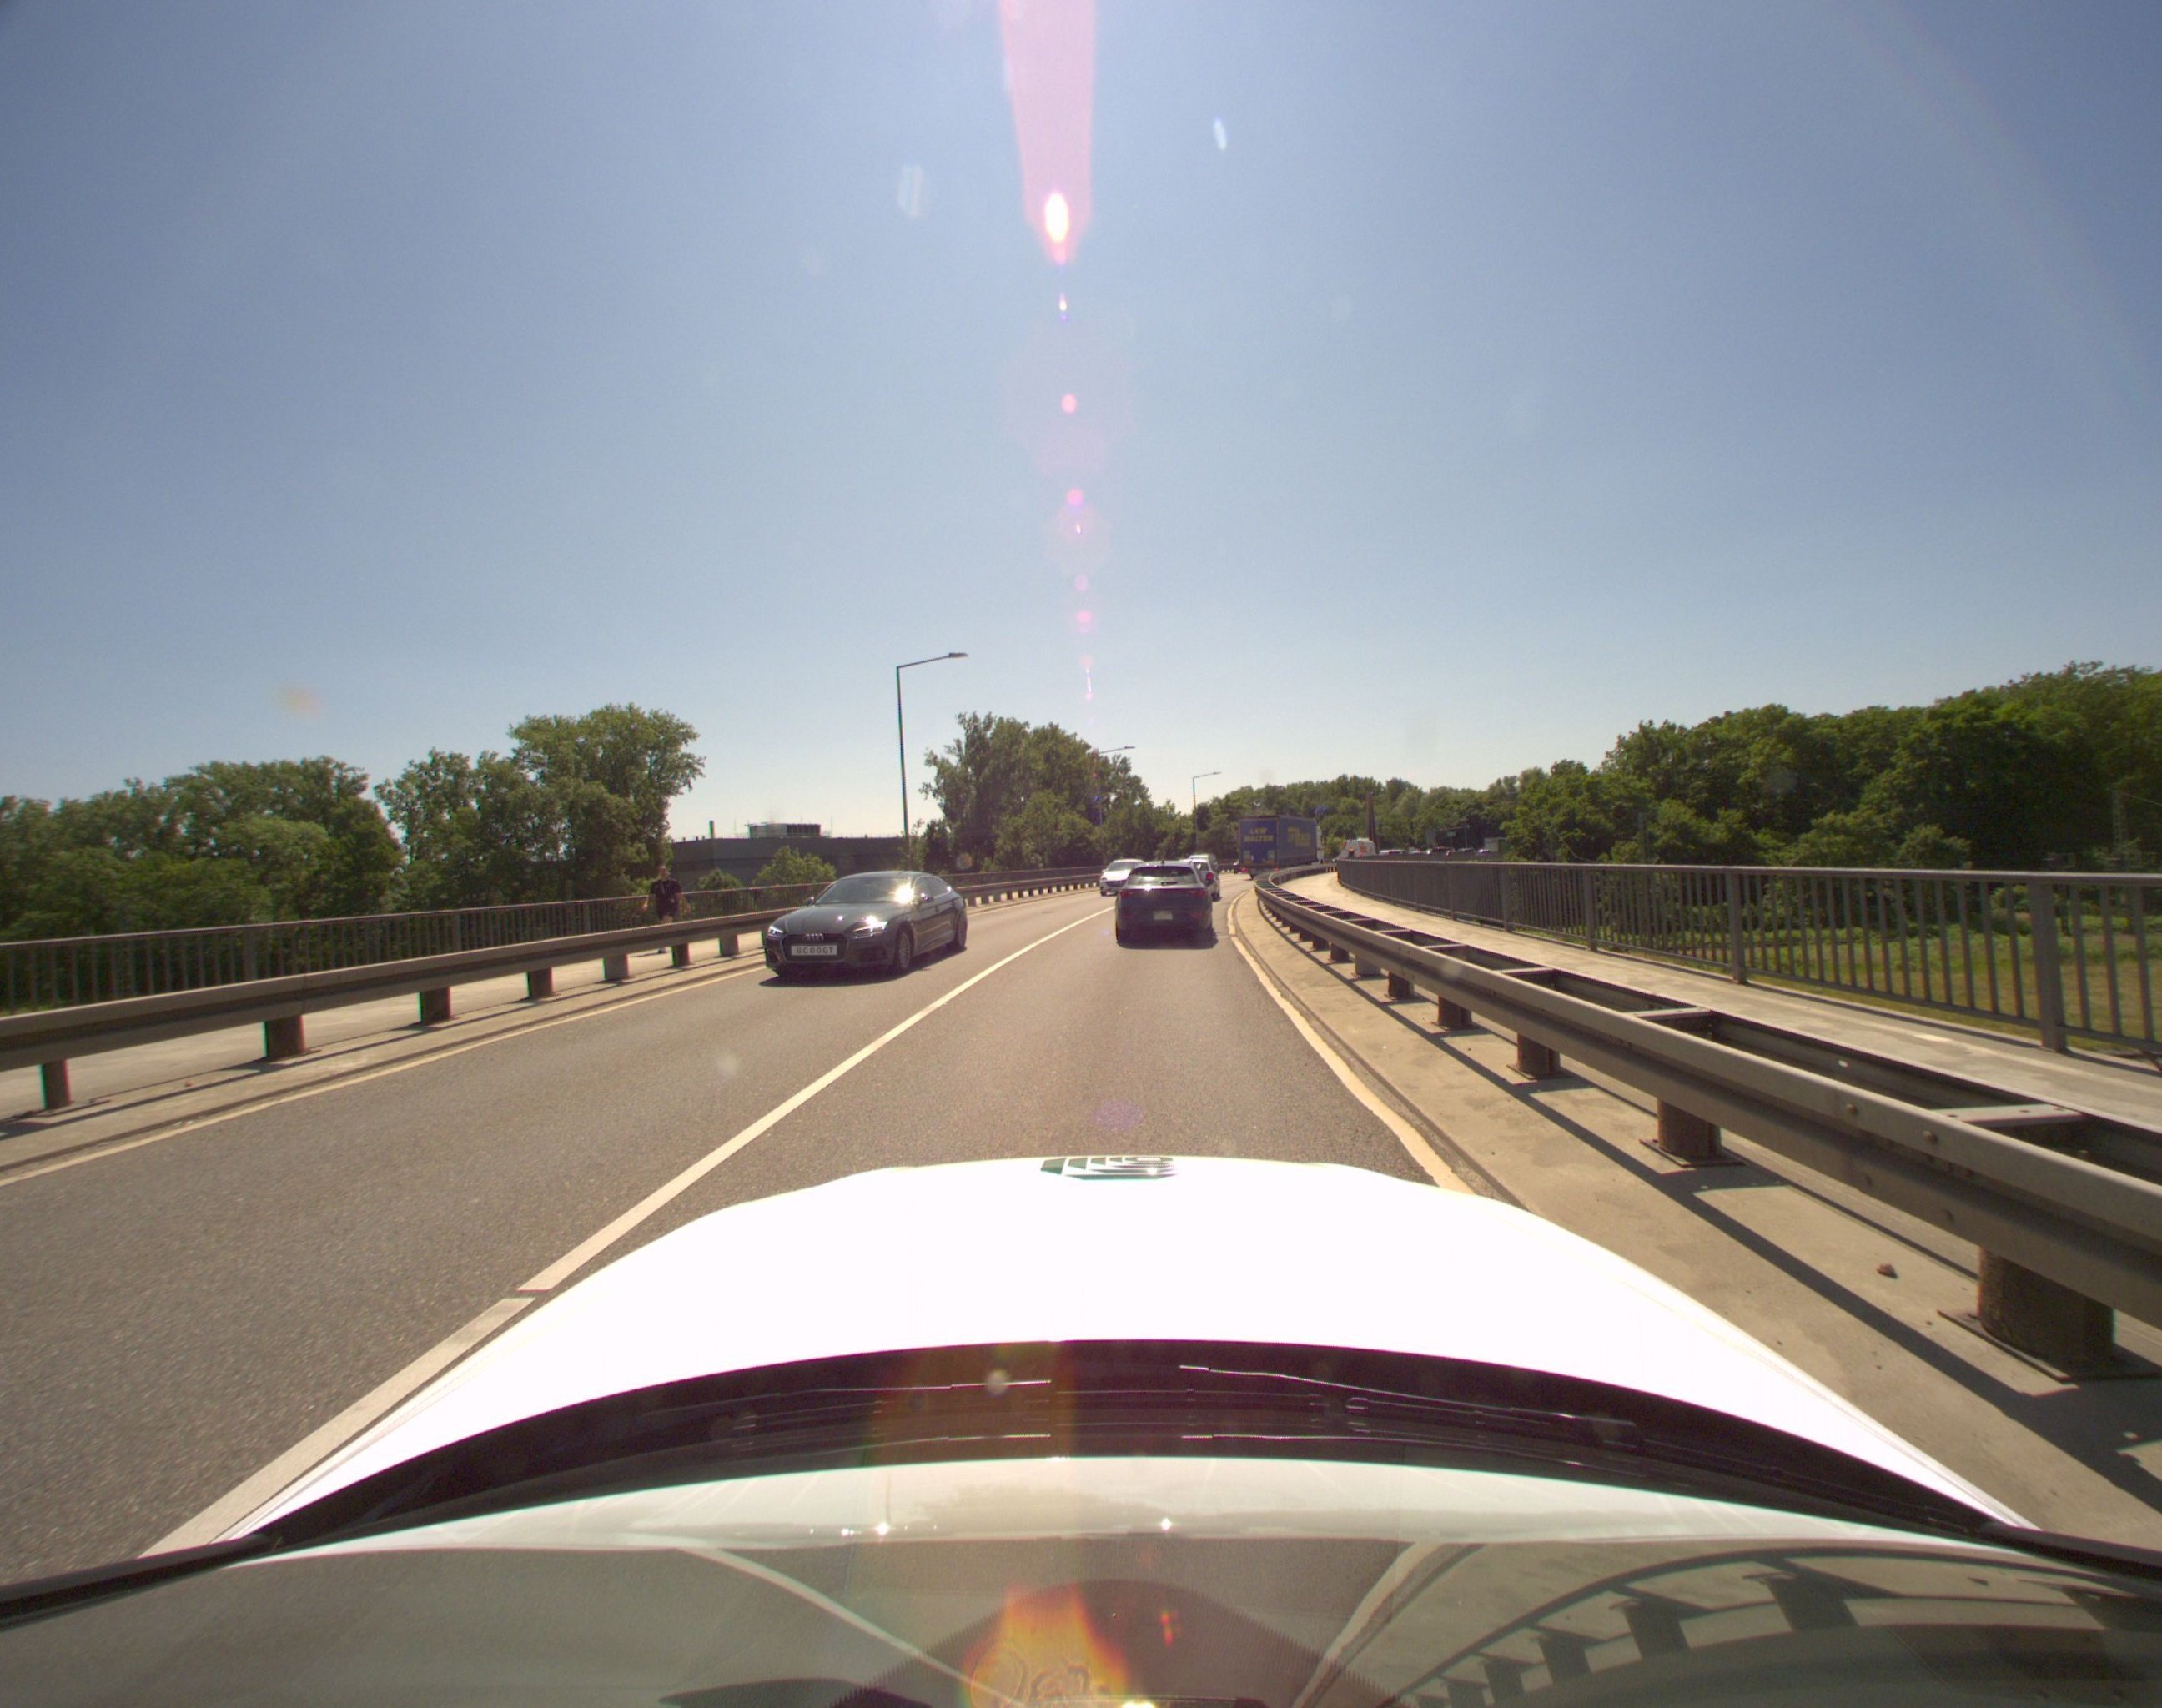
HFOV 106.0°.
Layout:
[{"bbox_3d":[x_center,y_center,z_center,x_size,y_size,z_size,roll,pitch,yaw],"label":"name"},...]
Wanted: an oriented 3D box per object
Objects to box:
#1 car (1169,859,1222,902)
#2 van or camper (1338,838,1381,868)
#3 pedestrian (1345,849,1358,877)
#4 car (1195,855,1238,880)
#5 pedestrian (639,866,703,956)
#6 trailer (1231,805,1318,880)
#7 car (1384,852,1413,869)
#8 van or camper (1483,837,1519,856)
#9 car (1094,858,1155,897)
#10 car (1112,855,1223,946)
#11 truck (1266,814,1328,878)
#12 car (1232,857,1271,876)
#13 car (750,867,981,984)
[{"bbox_3d":[4.177,0.927,29.355,1.582,1.461,3.557,0,-1,13],"label":"car"},{"bbox_3d":[26.633,-0.113,77.716,2.181,2.711,5.963,-1,0,36],"label":"van or camper"},{"bbox_3d":[19.158,0.623,57.744,0.730,1.967,0.739,-1,-2,29],"label":"pedestrian"},{"bbox_3d":[9.189,0.879,55.024,1.699,1.615,4.143,-2,-1,26],"label":"car"},{"bbox_3d":[-7.438,1.014,14.791,0.710,1.561,0.696,-3,-1,8],"label":"pedestrian"},{"bbox_3d":[13.742,-0.610,56.590,3.105,4.614,13.023,-1,-1,26],"label":"trailer"},{"bbox_3d":[33.857,0.704,86.741,1.870,1.850,4.025,-1,-1,36],"label":"car"},{"bbox_3d":[60.366,-1.038,117.085,4.981,2.292,2.465,4,1,-37],"label":"van or camper"},{"bbox_3d":[1.895,0.951,34.465,1.712,1.484,3.882,-3,-1,15],"label":"car"},{"bbox_3d":[1.558,0.788,15.510,1.838,1.499,3.761,-1,0,3],"label":"car"},{"bbox_3d":[16.613,-0.523,62.332,3.141,4.585,7.439,-1,-1,26],"label":"truck"},{"bbox_3d":[14.037,1.025,66.795,1.868,1.497,4.342,-2,-1,28],"label":"car"},{"bbox_3d":[-3.015,0.948,12.559,1.779,1.415,4.584,-3,-1,7],"label":"car"}]
